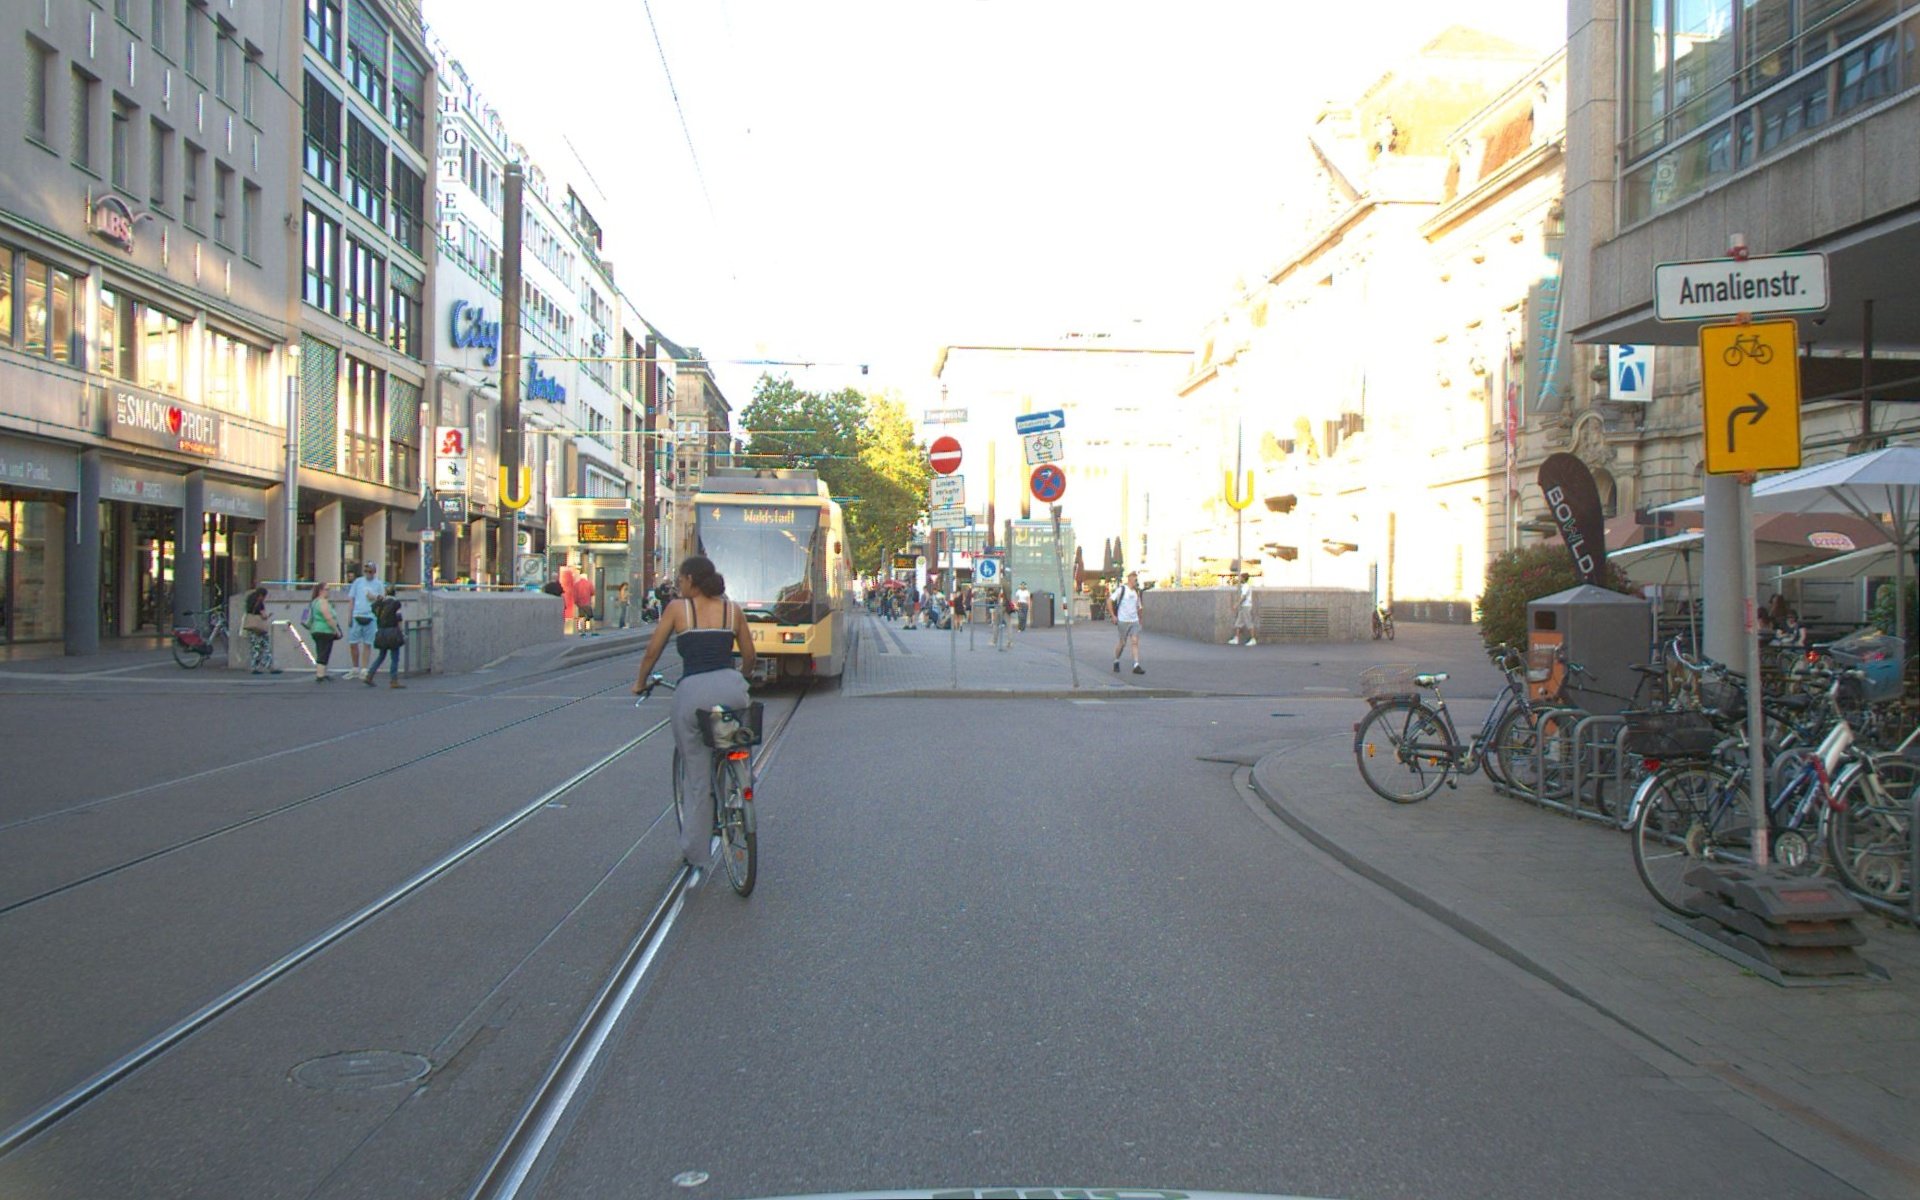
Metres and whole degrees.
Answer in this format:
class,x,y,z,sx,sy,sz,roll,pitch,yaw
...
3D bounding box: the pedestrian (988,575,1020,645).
class,x,y,z,sx,sy,sz,roll,pitch,yaw
pedestrian,1.108,0.252,41.684,0.704,1.756,0.708,0,-1,-6

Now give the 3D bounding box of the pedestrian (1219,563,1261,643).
class,x,y,z,sx,sy,sz,roll,pitch,yaw
pedestrian,7.264,0.083,42.930,0.896,2.049,0.772,1,0,-2

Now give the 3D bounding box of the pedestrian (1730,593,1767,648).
class,x,y,z,sx,sy,sz,roll,pitch,yaw
pedestrian,19.694,0.507,41.307,0.581,1.331,0.581,1,2,-8

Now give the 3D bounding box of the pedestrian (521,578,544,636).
class,x,y,z,sx,sy,sz,roll,pitch,yaw
pedestrian,-12.119,0.199,46.893,0.593,1.616,0.626,0,-1,-13

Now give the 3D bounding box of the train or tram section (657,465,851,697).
class,x,y,z,sx,sy,sz,roll,pitch,yaw
train or tram section,-3.490,-0.320,31.481,2.745,3.377,14.498,0,0,-4

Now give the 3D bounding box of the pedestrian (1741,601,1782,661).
class,x,y,z,sx,sy,sz,roll,pitch,yaw
pedestrian,17.587,0.678,36.297,0.602,1.247,0.701,2,2,11

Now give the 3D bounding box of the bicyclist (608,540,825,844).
class,x,y,z,sx,sy,sz,roll,pitch,yaw
bicyclist,-1.320,0.470,8.865,0.981,1.528,0.853,2,0,-18

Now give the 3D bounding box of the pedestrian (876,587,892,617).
class,x,y,z,sx,sy,sz,roll,pitch,yaw
pedestrian,-4.391,0.126,95.152,0.775,1.690,0.770,0,0,8

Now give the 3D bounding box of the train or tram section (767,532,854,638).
class,x,y,z,sx,sy,sz,roll,pitch,yaw
train or tram section,-5.280,-0.522,60.438,2.745,3.377,14.498,0,0,-4

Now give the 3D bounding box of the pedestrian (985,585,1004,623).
class,x,y,z,sx,sy,sz,roll,pitch,yaw
pedestrian,1.528,0.171,73.228,0.775,1.690,0.770,0,0,8

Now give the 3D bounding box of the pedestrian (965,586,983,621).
class,x,y,z,sx,sy,sz,roll,pitch,yaw
pedestrian,0.671,0.178,80.841,0.775,1.690,0.770,0,0,8

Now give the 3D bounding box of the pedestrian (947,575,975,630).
class,x,y,z,sx,sy,sz,roll,pitch,yaw
pedestrian,0.023,0.083,56.234,0.722,1.855,0.816,0,0,-18

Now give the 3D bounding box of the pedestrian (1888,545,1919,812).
class,x,y,z,sx,sy,sz,roll,pitch,yaw
pedestrian,6.672,0.509,10.733,0.748,1.749,0.923,-1,-1,-2

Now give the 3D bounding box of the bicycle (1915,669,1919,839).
class,x,y,z,sx,sy,sz,roll,pitch,yaw
bicycle,5.172,0.857,6.954,1.958,1.175,0.724,-2,0,-8

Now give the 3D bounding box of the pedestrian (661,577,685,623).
class,x,y,z,sx,sy,sz,roll,pitch,yaw
pedestrian,-11.177,0.014,64.409,0.700,1.756,0.767,1,-1,-32

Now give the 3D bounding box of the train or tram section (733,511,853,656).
class,x,y,z,sx,sy,sz,roll,pitch,yaw
train or tram section,-4.381,-0.427,45.955,2.745,3.377,14.498,0,0,-4

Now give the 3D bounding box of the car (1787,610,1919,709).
class,x,y,z,sx,sy,sz,roll,pitch,yaw
car,15.022,0.910,25.257,3.960,1.434,1.774,1,-1,-5

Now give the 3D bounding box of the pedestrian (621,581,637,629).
class,x,y,z,sx,sy,sz,roll,pitch,yaw
pedestrian,-11.331,0.173,56.597,0.502,1.646,0.503,0,-1,-13

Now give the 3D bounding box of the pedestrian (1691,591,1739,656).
class,x,y,z,sx,sy,sz,roll,pitch,yaw
pedestrian,17.190,0.532,37.651,0.786,1.407,0.653,1,2,7

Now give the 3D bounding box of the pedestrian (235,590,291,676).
class,x,y,z,sx,sy,sz,roll,pitch,yaw
pedestrian,-11.982,0.564,28.437,0.544,1.459,0.683,0,-1,34

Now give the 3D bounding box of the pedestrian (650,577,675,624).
class,x,y,z,sx,sy,sz,roll,pitch,yaw
pedestrian,-11.258,0.031,62.545,0.701,1.756,0.766,1,-1,-34

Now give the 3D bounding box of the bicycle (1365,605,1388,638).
class,x,y,z,sx,sy,sz,roll,pitch,yaw
bicycle,11.304,0.576,44.903,0.309,0.882,0.999,-1,0,-4

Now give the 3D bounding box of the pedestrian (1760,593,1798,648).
class,x,y,z,sx,sy,sz,roll,pitch,yaw
pedestrian,20.380,0.503,41.161,0.580,1.331,0.581,1,2,-5

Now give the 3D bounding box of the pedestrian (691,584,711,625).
class,x,y,z,sx,sy,sz,roll,pitch,yaw
pedestrian,-11.244,0.191,71.847,0.757,1.756,0.709,0,-1,-4

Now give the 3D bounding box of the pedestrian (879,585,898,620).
class,x,y,z,sx,sy,sz,roll,pitch,yaw
pedestrian,-3.498,0.113,80.926,0.750,1.690,0.795,0,0,8

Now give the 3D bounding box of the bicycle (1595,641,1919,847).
class,x,y,z,sx,sy,sz,roll,pitch,yaw
bicycle,4.946,0.841,10.054,1.879,1.096,0.762,-2,0,-8

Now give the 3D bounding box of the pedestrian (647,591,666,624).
class,x,y,z,sx,sy,sz,roll,pitch,yaw
pedestrian,-12.770,0.316,69.595,0.693,1.403,0.720,0,-1,-5

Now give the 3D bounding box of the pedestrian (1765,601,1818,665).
class,x,y,z,sx,sy,sz,roll,pitch,yaw
pedestrian,17.487,0.690,34.798,0.762,1.264,0.829,2,2,10

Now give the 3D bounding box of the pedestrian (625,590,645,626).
class,x,y,z,sx,sy,sz,roll,pitch,yaw
pedestrian,-12.624,0.303,64.239,0.693,1.403,0.720,0,-1,-5

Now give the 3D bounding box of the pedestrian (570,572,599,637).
class,x,y,z,sx,sy,sz,roll,pitch,yaw
pedestrian,-10.095,0.118,44.529,0.700,1.727,0.784,0,-1,-9

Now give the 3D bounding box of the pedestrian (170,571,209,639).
class,x,y,z,sx,sy,sz,roll,pitch,yaw
pedestrian,-19.897,0.131,42.724,0.700,1.756,0.709,0,-1,-5

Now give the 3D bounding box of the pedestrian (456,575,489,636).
class,x,y,z,sx,sy,sz,roll,pitch,yaw
pedestrian,-13.009,0.149,44.138,0.595,1.616,0.624,-1,-1,44

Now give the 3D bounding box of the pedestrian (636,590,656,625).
class,x,y,z,sx,sy,sz,roll,pitch,yaw
pedestrian,-12.587,0.310,66.345,0.693,1.403,0.720,0,-1,-5

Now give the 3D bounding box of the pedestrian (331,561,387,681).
class,x,y,z,sx,sy,sz,roll,pitch,yaw
pedestrian,-9.941,0.351,27.380,0.759,1.960,0.707,0,-1,-11

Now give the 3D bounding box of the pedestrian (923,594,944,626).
class,x,y,z,sx,sy,sz,roll,pitch,yaw
pedestrian,-1.052,0.377,65.456,0.777,1.243,0.768,0,0,-7

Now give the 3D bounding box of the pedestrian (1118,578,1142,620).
class,x,y,z,sx,sy,sz,roll,pitch,yaw
pedestrian,7.504,-0.034,73.044,0.832,1.855,0.773,0,0,-12

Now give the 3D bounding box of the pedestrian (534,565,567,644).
class,x,y,z,sx,sy,sz,roll,pitch,yaw
pedestrian,-10.230,0.110,41.335,0.700,1.959,0.708,0,-1,-8

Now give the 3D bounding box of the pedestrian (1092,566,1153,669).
class,x,y,z,sx,sy,sz,roll,pitch,yaw
pedestrian,3.065,0.331,31.265,0.993,1.896,1.042,1,0,-2

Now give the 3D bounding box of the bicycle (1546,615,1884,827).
class,x,y,z,sx,sy,sz,roll,pitch,yaw
bicycle,4.907,0.757,10.800,1.879,1.244,0.762,-2,0,-8

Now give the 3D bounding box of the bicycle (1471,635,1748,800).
class,x,y,z,sx,sy,sz,roll,pitch,yaw
bicycle,4.838,0.858,12.365,1.816,1.128,0.666,-1,0,-6

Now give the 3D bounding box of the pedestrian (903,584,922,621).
class,x,y,z,sx,sy,sz,roll,pitch,yaw
pedestrian,-2.232,0.114,77.649,0.775,1.690,0.770,0,0,8

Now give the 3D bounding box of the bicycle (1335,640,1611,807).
class,x,y,z,sx,sy,sz,roll,pitch,yaw
bicycle,3.759,0.888,12.179,1.816,1.128,0.666,-1,0,-6

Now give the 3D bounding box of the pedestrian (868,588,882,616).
class,x,y,z,sx,sy,sz,roll,pitch,yaw
pedestrian,-5.153,0.126,100.486,0.750,1.690,0.795,0,0,6

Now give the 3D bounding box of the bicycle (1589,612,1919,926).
class,x,y,z,sx,sy,sz,roll,pitch,yaw
bicycle,4.127,0.769,8.010,1.879,1.356,0.724,-2,0,-8

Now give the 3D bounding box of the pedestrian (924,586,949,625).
class,x,y,z,sx,sy,sz,roll,pitch,yaw
pedestrian,-0.993,0.223,68.942,0.752,1.606,0.794,0,0,26

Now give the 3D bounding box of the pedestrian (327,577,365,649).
class,x,y,z,sx,sy,sz,roll,pitch,yaw
pedestrian,-15.096,0.312,40.696,0.700,1.756,0.709,0,-1,-5

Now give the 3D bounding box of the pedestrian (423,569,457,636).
class,x,y,z,sx,sy,sz,roll,pitch,yaw
pedestrian,-13.761,0.076,43.773,0.595,1.756,0.624,-1,-1,43

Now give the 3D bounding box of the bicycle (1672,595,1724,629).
class,x,y,z,sx,sy,sz,roll,pitch,yaw
bicycle,20.222,0.337,45.313,1.293,0.909,0.410,-1,1,-8

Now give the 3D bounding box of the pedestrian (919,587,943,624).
class,x,y,z,sx,sy,sz,roll,pitch,yaw
pedestrian,-1.281,0.230,73.041,0.752,1.606,0.794,0,0,26

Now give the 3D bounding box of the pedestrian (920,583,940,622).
class,x,y,z,sx,sy,sz,roll,pitch,yaw
pedestrian,-1.331,0.117,72.908,0.775,1.690,0.770,0,0,8

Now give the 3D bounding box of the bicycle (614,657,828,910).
class,x,y,z,sx,sy,sz,roll,pitch,yaw
bicycle,-1.347,0.912,8.921,0.802,1.092,2.103,2,0,-17

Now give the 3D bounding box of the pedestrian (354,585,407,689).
class,x,y,z,sx,sy,sz,roll,pitch,yaw
pedestrian,-8.876,0.557,25.349,0.672,1.569,0.604,0,-1,-11

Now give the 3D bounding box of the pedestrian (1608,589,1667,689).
class,x,y,z,sx,sy,sz,roll,pitch,yaw
pedestrian,12.788,0.724,31.253,0.792,1.855,0.806,0,1,1

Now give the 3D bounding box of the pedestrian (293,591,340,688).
class,x,y,z,sx,sy,sz,roll,pitch,yaw
pedestrian,-10.206,0.622,26.257,0.593,1.520,0.554,0,-1,-11

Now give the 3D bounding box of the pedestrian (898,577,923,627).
class,x,y,z,sx,sy,sz,roll,pitch,yaw
pedestrian,-1.855,0.064,61.628,0.722,1.855,0.816,0,0,-18

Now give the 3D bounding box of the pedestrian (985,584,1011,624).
class,x,y,z,sx,sy,sz,roll,pitch,yaw
pedestrian,1.578,0.161,69.523,0.763,1.690,0.782,0,0,-44

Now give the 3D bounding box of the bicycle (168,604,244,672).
class,x,y,z,sx,sy,sz,roll,pitch,yaw
bicycle,-13.518,0.668,29.710,0.488,1.127,1.801,0,1,2

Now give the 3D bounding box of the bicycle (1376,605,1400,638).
class,x,y,z,sx,sy,sz,roll,pitch,yaw
bicycle,11.623,0.582,44.925,0.309,0.882,0.999,-1,0,-4

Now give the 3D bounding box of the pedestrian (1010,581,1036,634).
class,x,y,z,sx,sy,sz,roll,pitch,yaw
pedestrian,2.248,0.272,58.883,0.758,1.855,0.938,-1,0,-7

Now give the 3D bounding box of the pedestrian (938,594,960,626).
class,x,y,z,sx,sy,sz,roll,pitch,yaw
pedestrian,-0.417,0.387,64.691,0.777,1.243,0.768,0,0,-7
